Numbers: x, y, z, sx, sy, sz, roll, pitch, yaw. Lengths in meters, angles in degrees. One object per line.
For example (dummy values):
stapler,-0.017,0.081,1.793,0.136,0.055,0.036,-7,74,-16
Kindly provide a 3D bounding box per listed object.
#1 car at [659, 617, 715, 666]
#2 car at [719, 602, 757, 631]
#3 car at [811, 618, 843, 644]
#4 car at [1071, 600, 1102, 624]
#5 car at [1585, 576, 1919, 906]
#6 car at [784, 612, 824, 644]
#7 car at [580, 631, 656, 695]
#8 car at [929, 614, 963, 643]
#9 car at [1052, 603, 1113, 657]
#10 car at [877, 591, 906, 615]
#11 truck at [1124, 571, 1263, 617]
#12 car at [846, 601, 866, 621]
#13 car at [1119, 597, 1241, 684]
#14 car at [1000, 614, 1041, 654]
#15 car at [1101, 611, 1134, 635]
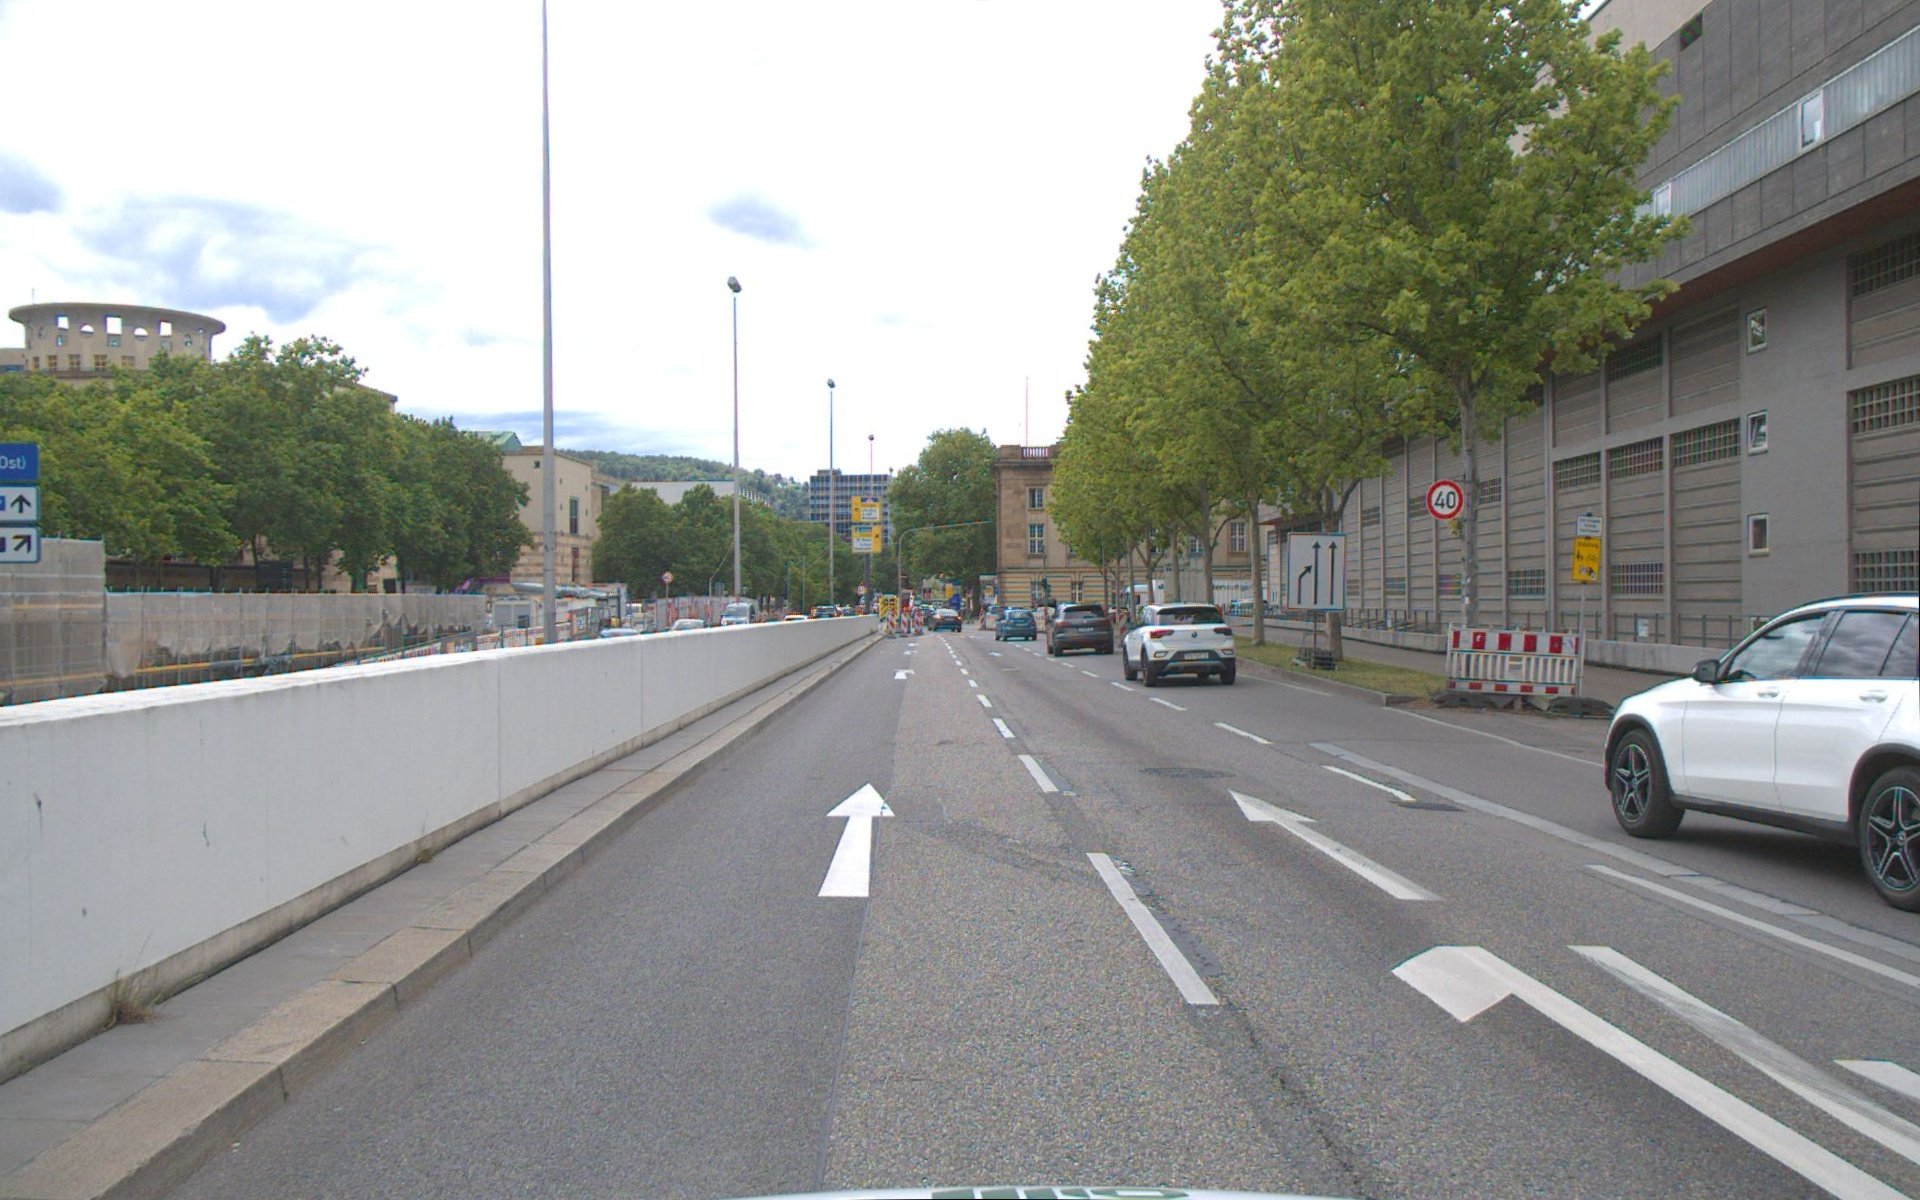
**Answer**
car,-12.529,1.863,76.008,1.953,2.049,3.999,-1,1,-1
car,-13.018,0.992,97.154,1.715,1.595,3.377,-3,-1,0
car,-8.667,2.029,107.718,1.715,1.595,3.377,-3,-1,0
car,8.704,0.849,114.041,1.715,1.595,4.330,0,-2,-1
car,5.635,0.742,9.874,1.776,1.671,4.547,1,-1,-5
car,-8.063,1.444,85.611,1.715,1.595,3.377,0,-1,0
car,-12.196,2.205,59.194,1.953,2.049,3.999,-1,1,-1
car,-0.875,1.792,106.353,1.785,1.771,4.482,-1,0,4
car,3.987,0.952,54.447,1.785,1.595,4.481,-3,0,3
car,-7.174,0.327,173.854,2.528,2.416,5.528,-1,0,3
truck,17.153,-0.429,122.012,9.824,3.104,2.568,-1,-2,0
car,-8.890,0.965,141.635,1.716,1.595,4.327,0,-1,-4
car,4.340,0.749,33.176,1.715,1.595,4.330,-1,0,-2
car,2.912,1.605,79.287,1.785,1.771,4.482,-1,0,4
car,10.784,1.583,113.690,1.818,1.595,4.330,0,-2,-1
